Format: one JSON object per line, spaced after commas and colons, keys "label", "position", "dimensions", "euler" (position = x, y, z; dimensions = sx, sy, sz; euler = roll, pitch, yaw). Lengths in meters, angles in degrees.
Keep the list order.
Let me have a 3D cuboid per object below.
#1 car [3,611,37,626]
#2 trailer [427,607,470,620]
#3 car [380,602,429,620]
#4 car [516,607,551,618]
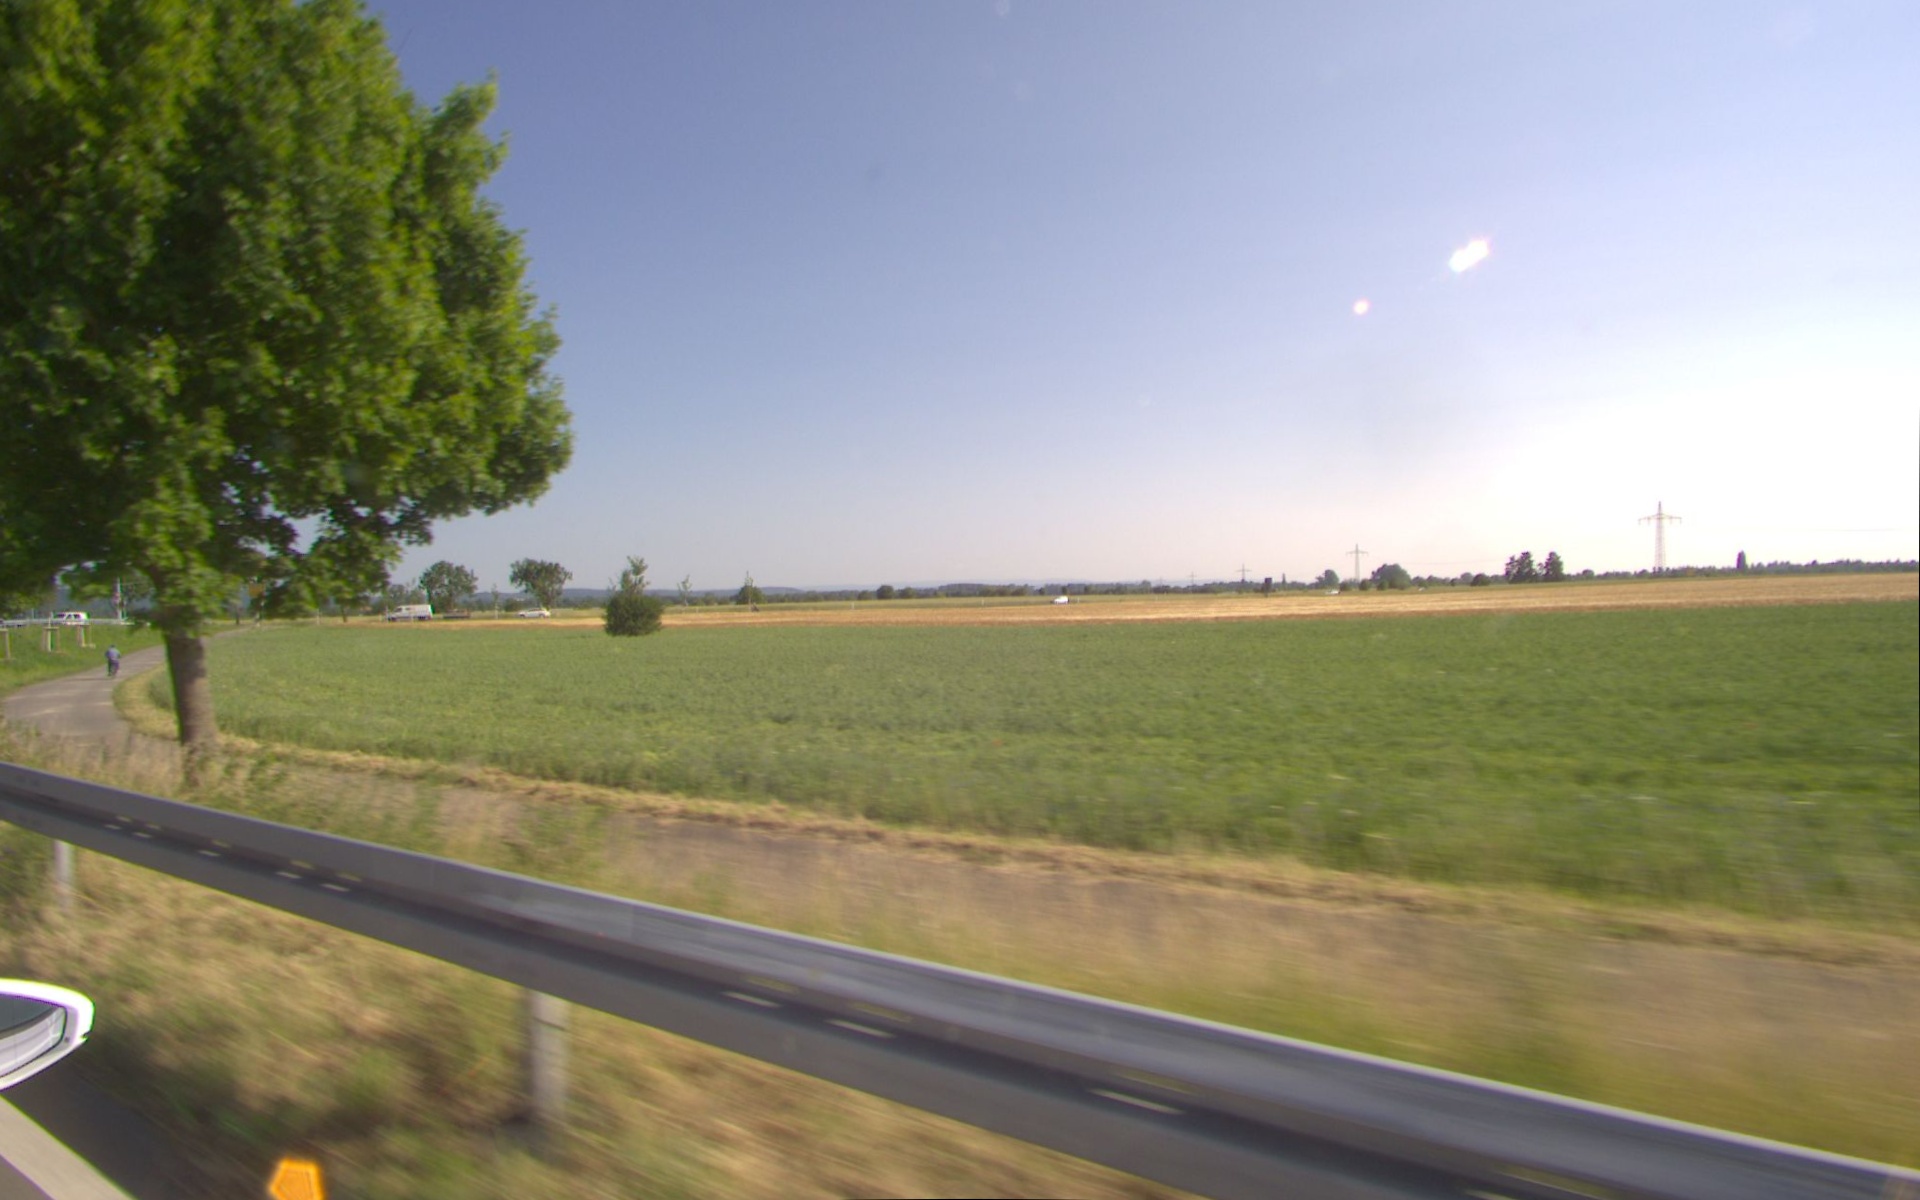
{"label": "car", "position": [-103.383, 2.026, 110.172], "dimensions": [1.776, 1.468, 4.676], "euler": [1, 1, -32]}
{"label": "trailer", "position": [-73.672, 1.932, 144.297], "dimensions": [5.187, 1.776, 1.949], "euler": [-1, 0, -20]}
{"label": "car", "position": [-78.961, 1.595, 142.430], "dimensions": [5.874, 2.524, 1.996], "euler": [0, -1, -20]}
{"label": "car", "position": [-63.337, 1.854, 148.737], "dimensions": [4.804, 1.529, 1.994], "euler": [1, -2, -22]}
